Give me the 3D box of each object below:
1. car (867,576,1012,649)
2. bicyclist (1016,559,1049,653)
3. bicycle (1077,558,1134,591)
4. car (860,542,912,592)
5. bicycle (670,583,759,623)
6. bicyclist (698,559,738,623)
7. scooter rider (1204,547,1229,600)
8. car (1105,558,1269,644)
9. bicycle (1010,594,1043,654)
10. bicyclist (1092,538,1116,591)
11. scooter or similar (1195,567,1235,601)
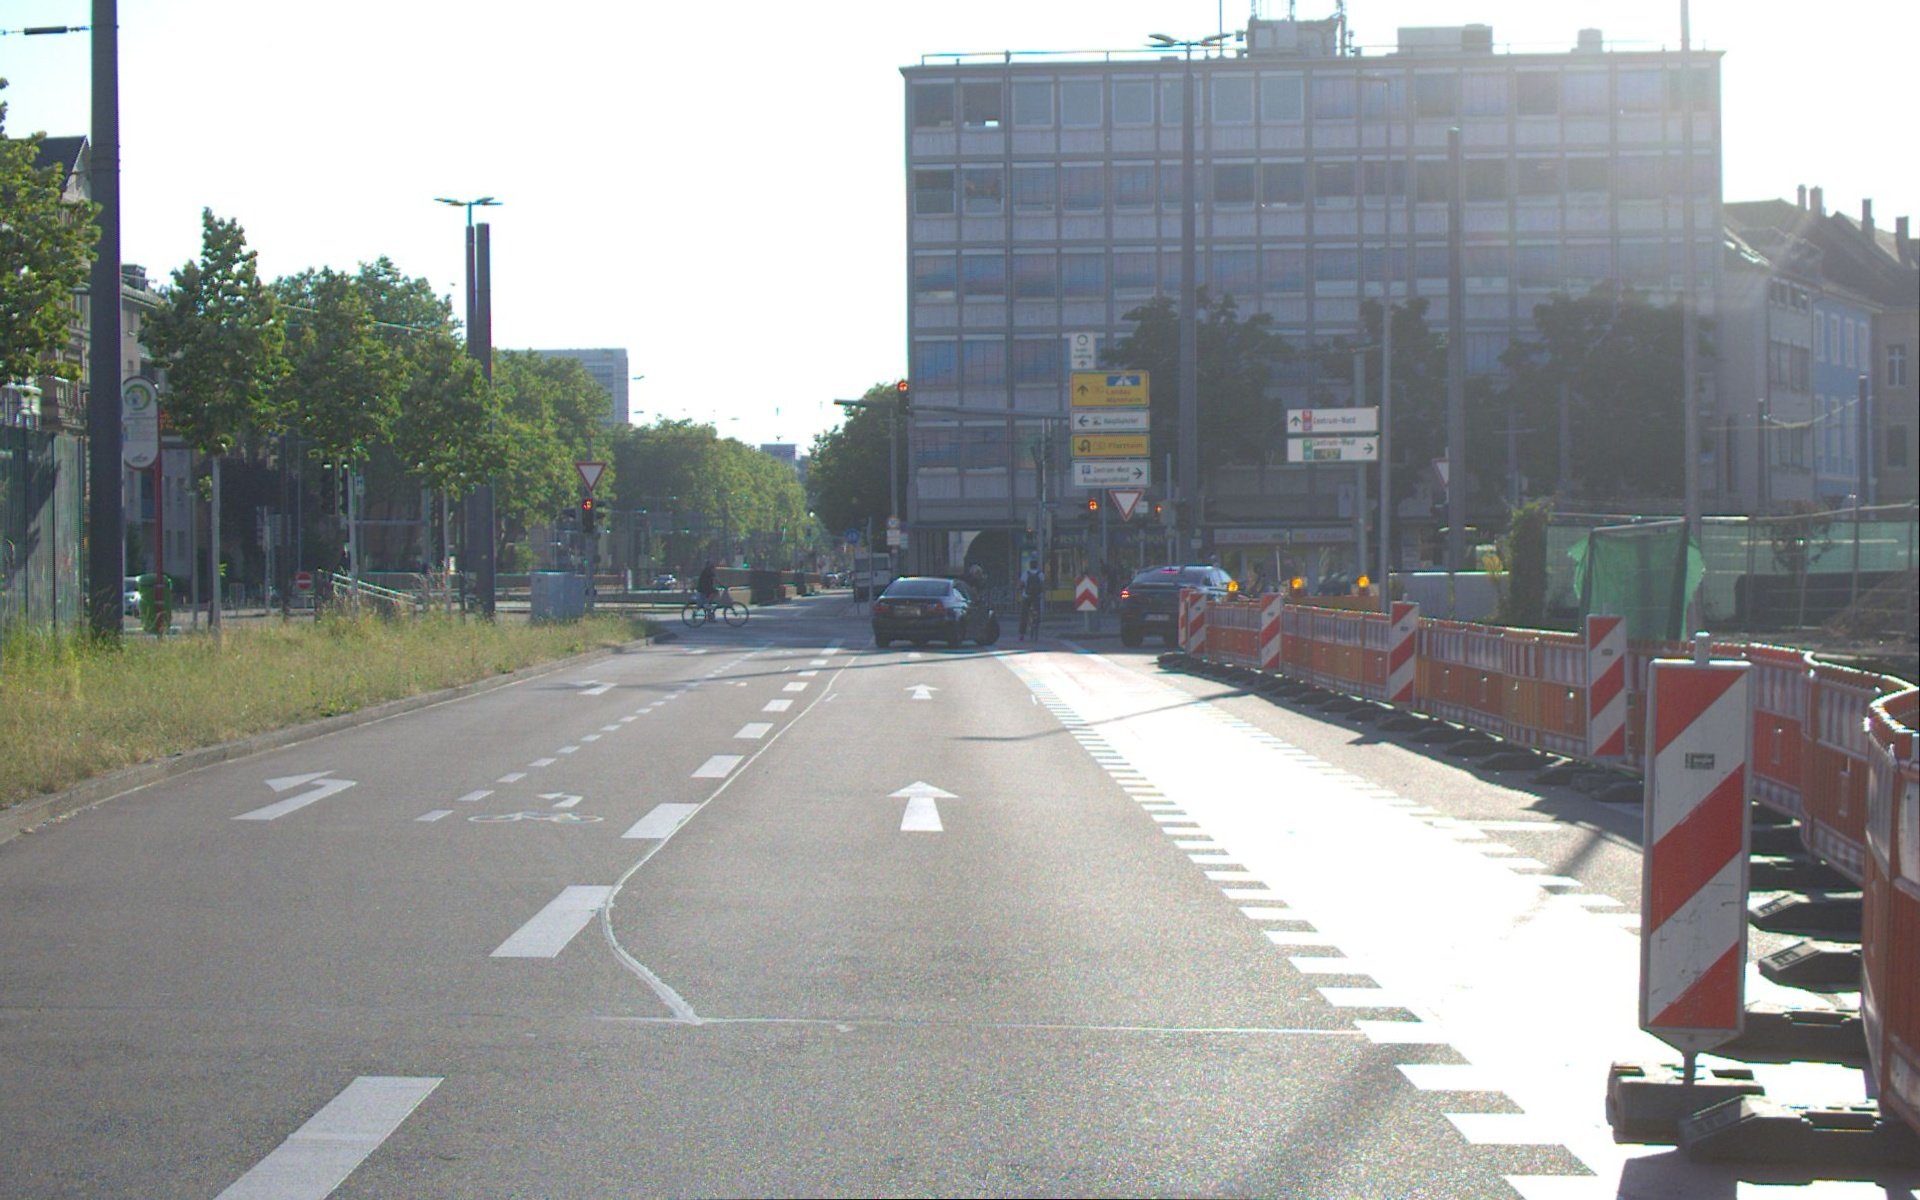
[{"bbox_3d":[-0.382,0.227,69.416,1.745,1.421,3.996,0,0,18],"label":"car"},{"bbox_3d":[1.601,0.124,75.797,0.643,2.006,1.067,1,2,0],"label":"bicyclist"},{"bbox_3d":[4.724,-0.830,111.523,1.775,1.068,0.535,-1,0,-10],"label":"bicycle"},{"bbox_3d":[-3.742,-1.646,173.100,2.486,2.384,5.935,-2,0,-2],"label":"car"},{"bbox_3d":[-6.306,0.086,88.453,2.226,1.023,0.682,0,0,2],"label":"bicycle"},{"bbox_3d":[-6.230,-0.229,88.447,0.959,1.656,0.691,0,0,2],"label":"bicyclist"},{"bbox_3d":[8.278,-0.844,110.952,0.663,1.706,0.527,-1,0,-10],"label":"scooter rider"},{"bbox_3d":[4.808,-0.008,72.350,1.996,1.687,3.994,2,2,27],"label":"car"},{"bbox_3d":[1.455,0.523,75.636,0.644,1.219,2.048,1,2,0],"label":"bicycle"},{"bbox_3d":[4.669,-1.156,111.509,0.663,1.706,0.538,-1,0,-10],"label":"bicyclist"},{"bbox_3d":[8.235,-0.521,110.948,1.171,1.068,0.530,-1,0,-10],"label":"scooter or similar"}]
